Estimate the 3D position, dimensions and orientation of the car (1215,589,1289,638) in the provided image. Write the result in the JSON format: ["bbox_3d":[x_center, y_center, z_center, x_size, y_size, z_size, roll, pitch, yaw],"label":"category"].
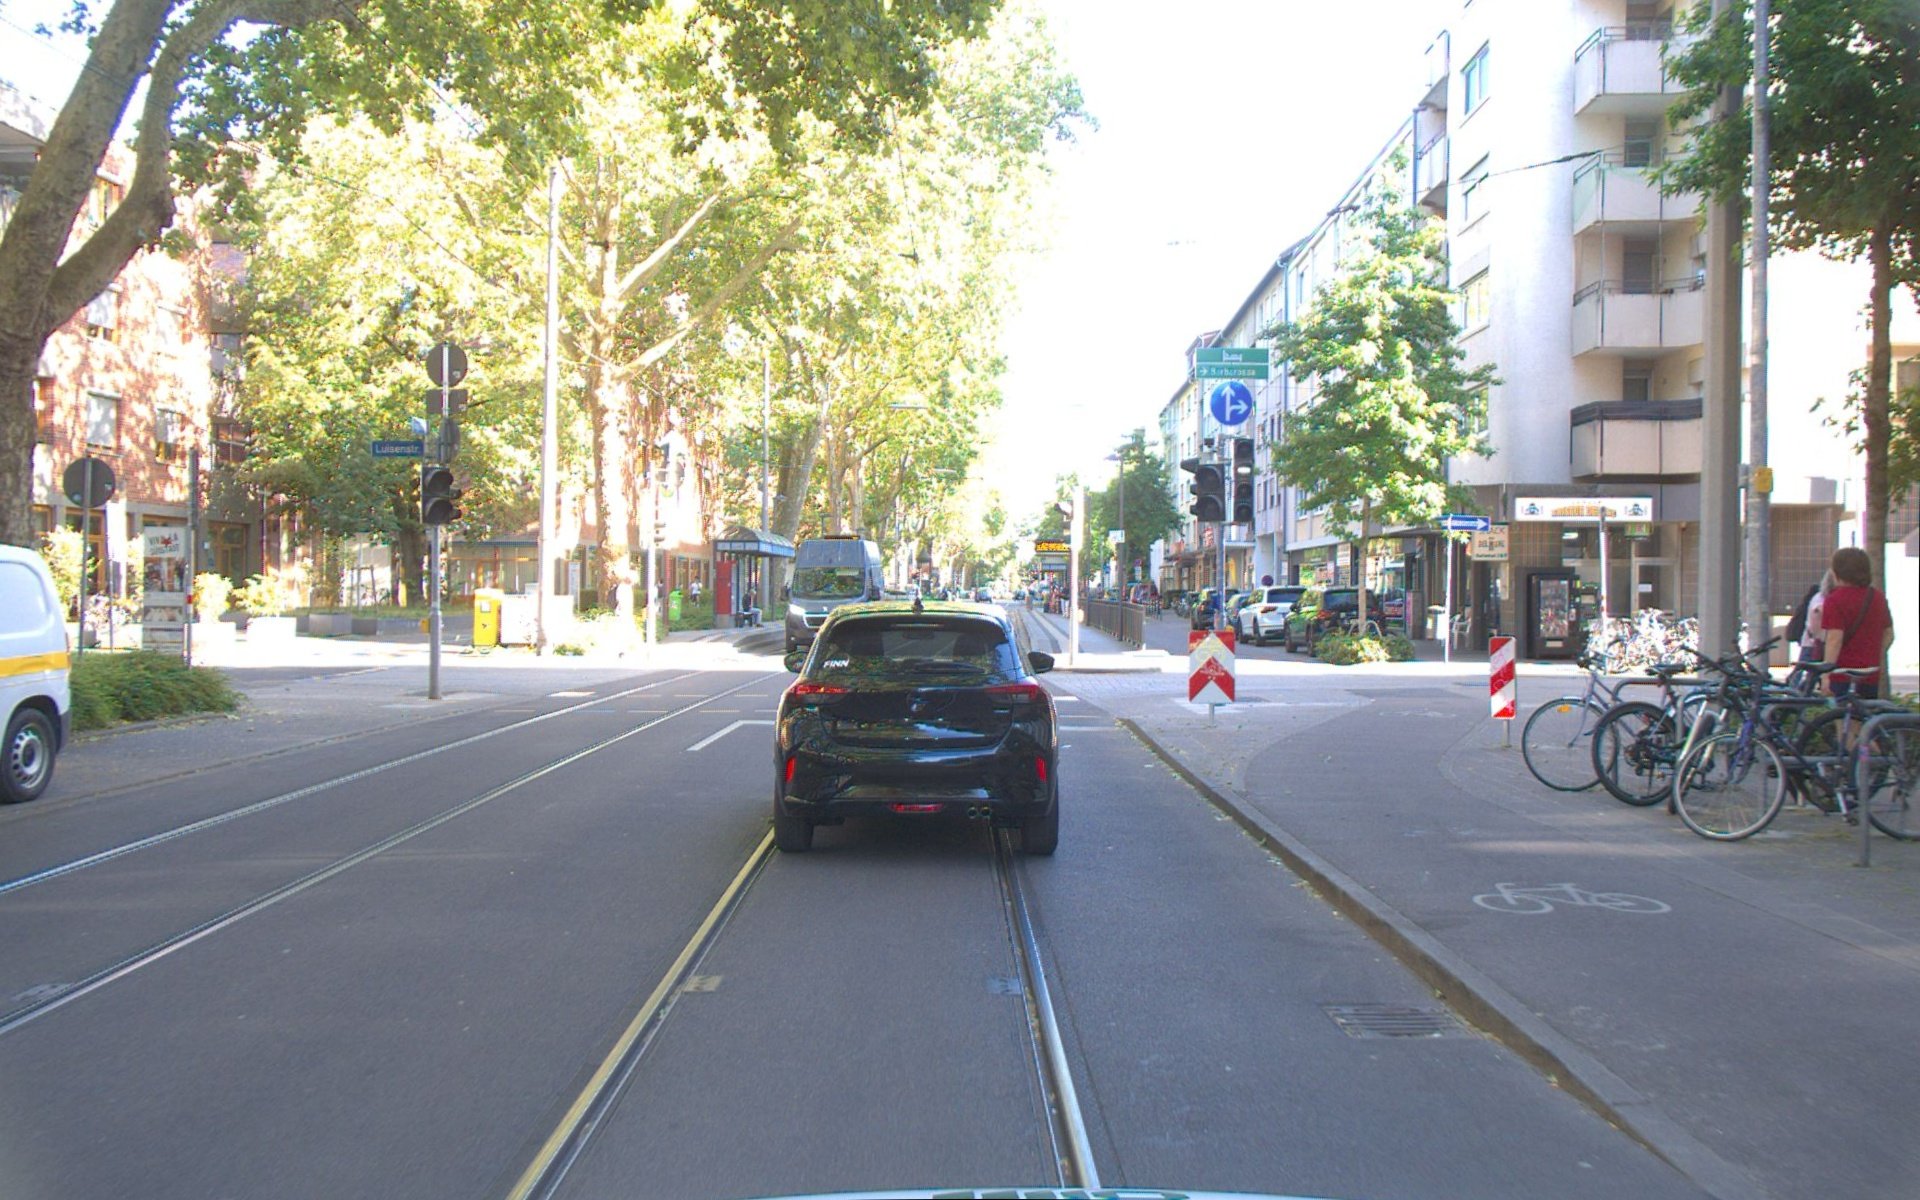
[{"bbox_3d":[9.320,0.411,53.050,1.708,1.465,4.248,2,0,2],"label":"car"}]

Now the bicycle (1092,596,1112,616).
[{"bbox_3d":[8.753,0.372,102.304,0.844,1.156,2.394,2,0,-4],"label":"bicycle"}]

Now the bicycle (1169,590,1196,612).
[{"bbox_3d":[11.990,0.037,89.057,0.600,1.156,2.915,2,0,-9],"label":"bicycle"}]

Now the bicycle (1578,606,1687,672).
[{"bbox_3d":[12.759,0.734,31.405,1.875,1.229,0.511,0,0,-2],"label":"bicycle"}]

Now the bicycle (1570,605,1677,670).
[{"bbox_3d":[12.819,0.723,31.960,1.875,1.229,0.511,0,0,-2],"label":"bicycle"}]

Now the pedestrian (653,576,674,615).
[{"bbox_3d":[-13.179,-0.209,73.472,0.720,1.701,0.861,1,0,2],"label":"pedestrian"}]

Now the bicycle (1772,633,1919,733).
[{"bbox_3d":[9.590,0.869,17.948,0.663,0.980,2.023,1,0,4],"label":"bicycle"}]

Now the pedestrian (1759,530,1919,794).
[{"bbox_3d":[6.466,0.429,11.831,0.860,1.789,1.044,2,0,-14],"label":"pedestrian"}]

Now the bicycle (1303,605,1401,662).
[{"bbox_3d":[8.794,0.751,37.194,2.081,1.208,0.681,1,0,10],"label":"bicycle"}]

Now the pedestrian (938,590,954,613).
[{"bbox_3d":[-1.113,0.152,130.821,1.141,1.779,0.957,2,0,-4],"label":"pedestrian"}]

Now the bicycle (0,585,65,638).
[{"bbox_3d":[-20.626,0.233,36.803,0.530,1.103,1.639,1,2,0],"label":"bicycle"}]

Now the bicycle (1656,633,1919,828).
[{"bbox_3d":[5.196,0.773,9.966,1.778,1.119,0.525,0,0,0],"label":"bicycle"}]

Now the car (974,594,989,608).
[{"bbox_3d":[2.532,0.126,197.377,1.709,1.571,4.000,2,0,0],"label":"car"}]

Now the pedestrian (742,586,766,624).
[{"bbox_3d":[-6.451,0.161,51.787,0.691,1.189,0.659,0,0,-2],"label":"pedestrian"}]

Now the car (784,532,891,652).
[{"bbox_3d":[-2.967,-0.171,41.460,2.070,2.786,6.116,0,0,2],"label":"car"}]

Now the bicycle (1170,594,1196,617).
[{"bbox_3d":[11.281,0.277,83.770,0.610,1.156,2.434,2,0,-9],"label":"bicycle"}]

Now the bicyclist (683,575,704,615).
[{"bbox_3d":[-11.906,-0.219,73.954,0.759,1.780,0.997,1,0,-1],"label":"bicyclist"}]

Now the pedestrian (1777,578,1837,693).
[{"bbox_3d":[11.960,0.505,23.374,0.539,1.589,0.645,1,-1,6],"label":"pedestrian"}]

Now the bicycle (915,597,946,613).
[{"bbox_3d":[-2.381,0.393,134.336,2.431,1.262,0.957,2,0,-4],"label":"bicycle"}]

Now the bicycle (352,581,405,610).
[{"bbox_3d":[-23.115,-0.160,65.745,1.907,1.092,0.762,2,0,-15],"label":"bicycle"}]

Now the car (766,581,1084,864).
[{"bbox_3d":[-0.199,0.672,10.850,1.724,1.534,3.682,0,0,0],"label":"car"}]

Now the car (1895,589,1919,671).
[{"bbox_3d":[20.097,0.597,30.595,4.489,1.503,1.872,0,2,2],"label":"car"}]

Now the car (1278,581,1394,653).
[{"bbox_3d":[9.084,0.410,40.307,1.952,1.644,4.446,0,0,2],"label":"car"}]

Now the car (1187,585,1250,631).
[{"bbox_3d":[9.911,0.305,63.608,1.818,1.644,4.398,1,0,2],"label":"car"}]

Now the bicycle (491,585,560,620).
[{"bbox_3d":[-15.921,0.091,60.605,2.292,1.186,0.682,2,0,2],"label":"bicycle"}]

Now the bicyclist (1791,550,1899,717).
[{"bbox_3d":[9.603,0.354,17.981,0.663,1.747,0.965,1,0,4],"label":"bicyclist"}]

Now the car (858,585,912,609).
[{"bbox_3d":[-5.809,-0.247,128.024,4.034,1.730,1.881,2,0,-6],"label":"car"}]

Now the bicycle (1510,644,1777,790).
[{"bbox_3d":[5.074,0.862,12.321,1.778,1.011,0.481,2,0,-1],"label":"bicycle"}]

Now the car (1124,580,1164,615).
[{"bbox_3d":[10.845,-0.144,97.858,1.952,1.986,4.000,1,0,1],"label":"car"}]

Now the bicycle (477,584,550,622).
[{"bbox_3d":[-16.247,0.118,60.192,2.407,1.240,0.682,3,0,2],"label":"bicycle"}]

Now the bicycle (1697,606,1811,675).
[{"bbox_3d":[14.866,0.757,30.987,1.875,1.228,0.511,1,1,-2],"label":"bicycle"}]

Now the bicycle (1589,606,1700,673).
[{"bbox_3d":[12.768,0.735,30.870,1.875,1.228,0.511,0,1,-2],"label":"bicycle"}]

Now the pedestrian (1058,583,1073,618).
[{"bbox_3d":[4.938,0.003,77.631,0.618,1.603,0.871,3,0,2],"label":"pedestrian"}]

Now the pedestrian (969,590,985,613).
[{"bbox_3d":[1.332,0.145,130.813,1.141,1.779,0.957,2,0,-4],"label":"pedestrian"}]

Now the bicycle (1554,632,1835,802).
[{"bbox_3d":[5.125,0.809,11.572,1.780,1.119,0.497,2,0,-7],"label":"bicycle"}]

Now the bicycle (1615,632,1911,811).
[{"bbox_3d":[5.327,0.799,10.996,1.780,1.119,0.480,2,0,-7],"label":"bicycle"}]

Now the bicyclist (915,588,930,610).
[{"bbox_3d":[-3.008,-0.085,134.295,1.141,1.779,0.957,2,0,-4],"label":"bicyclist"}]

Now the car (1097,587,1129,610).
[{"bbox_3d":[10.794,-0.112,116.860,1.952,1.512,4.001,2,0,2],"label":"car"}]

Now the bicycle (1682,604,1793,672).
[{"bbox_3d":[14.843,0.726,31.600,1.875,1.229,0.511,2,0,-2],"label":"bicycle"}]

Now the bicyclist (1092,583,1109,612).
[{"bbox_3d":[8.722,-0.145,102.750,0.844,1.790,1.052,1,0,-5],"label":"bicyclist"}]

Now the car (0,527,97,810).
[{"bbox_3d":[-7.235,0.434,10.010,1.727,1.883,4.318,1,0,0],"label":"car"}]

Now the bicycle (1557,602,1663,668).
[{"bbox_3d":[12.779,0.684,32.516,1.875,1.229,0.511,2,0,-2],"label":"bicycle"}]

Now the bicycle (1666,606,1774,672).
[{"bbox_3d":[14.826,0.754,32.264,1.875,1.229,0.511,2,-1,-2],"label":"bicycle"}]

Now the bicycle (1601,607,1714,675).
[{"bbox_3d":[12.785,0.745,30.338,1.875,1.228,0.511,0,1,-2],"label":"bicycle"}]

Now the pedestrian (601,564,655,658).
[{"bbox_3d":[-6.819,0.219,33.982,0.905,1.867,0.920,1,2,-2],"label":"pedestrian"}]

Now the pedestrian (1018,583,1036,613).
[{"bbox_3d":[3.903,-0.119,96.573,0.737,1.739,0.760,1,-1,36],"label":"pedestrian"}]

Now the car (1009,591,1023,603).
[{"bbox_3d":[7.549,-0.359,222.940,1.709,1.571,4.000,2,0,0],"label":"car"}]

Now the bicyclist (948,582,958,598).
[{"bbox_3d":[-0.728,-1.083,176.483,0.921,1.732,1.153,1,0,5],"label":"bicyclist"}]

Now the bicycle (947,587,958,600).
[{"bbox_3d":[-0.813,-0.669,175.574,0.935,1.262,2.979,1,0,5],"label":"bicycle"}]

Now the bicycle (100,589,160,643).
[{"bbox_3d":[-18.360,0.336,36.609,0.530,1.103,1.537,1,2,0],"label":"bicycle"}]

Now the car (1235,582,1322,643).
[{"bbox_3d":[9.106,0.351,47.596,1.762,1.634,4.416,1,0,2],"label":"car"}]

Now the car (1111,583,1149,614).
[{"bbox_3d":[10.716,-0.089,104.478,1.952,1.829,4.000,2,0,1],"label":"car"}]

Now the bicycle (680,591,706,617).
[{"bbox_3d":[-11.926,0.183,74.036,0.766,1.130,2.595,1,0,-1],"label":"bicycle"}]
